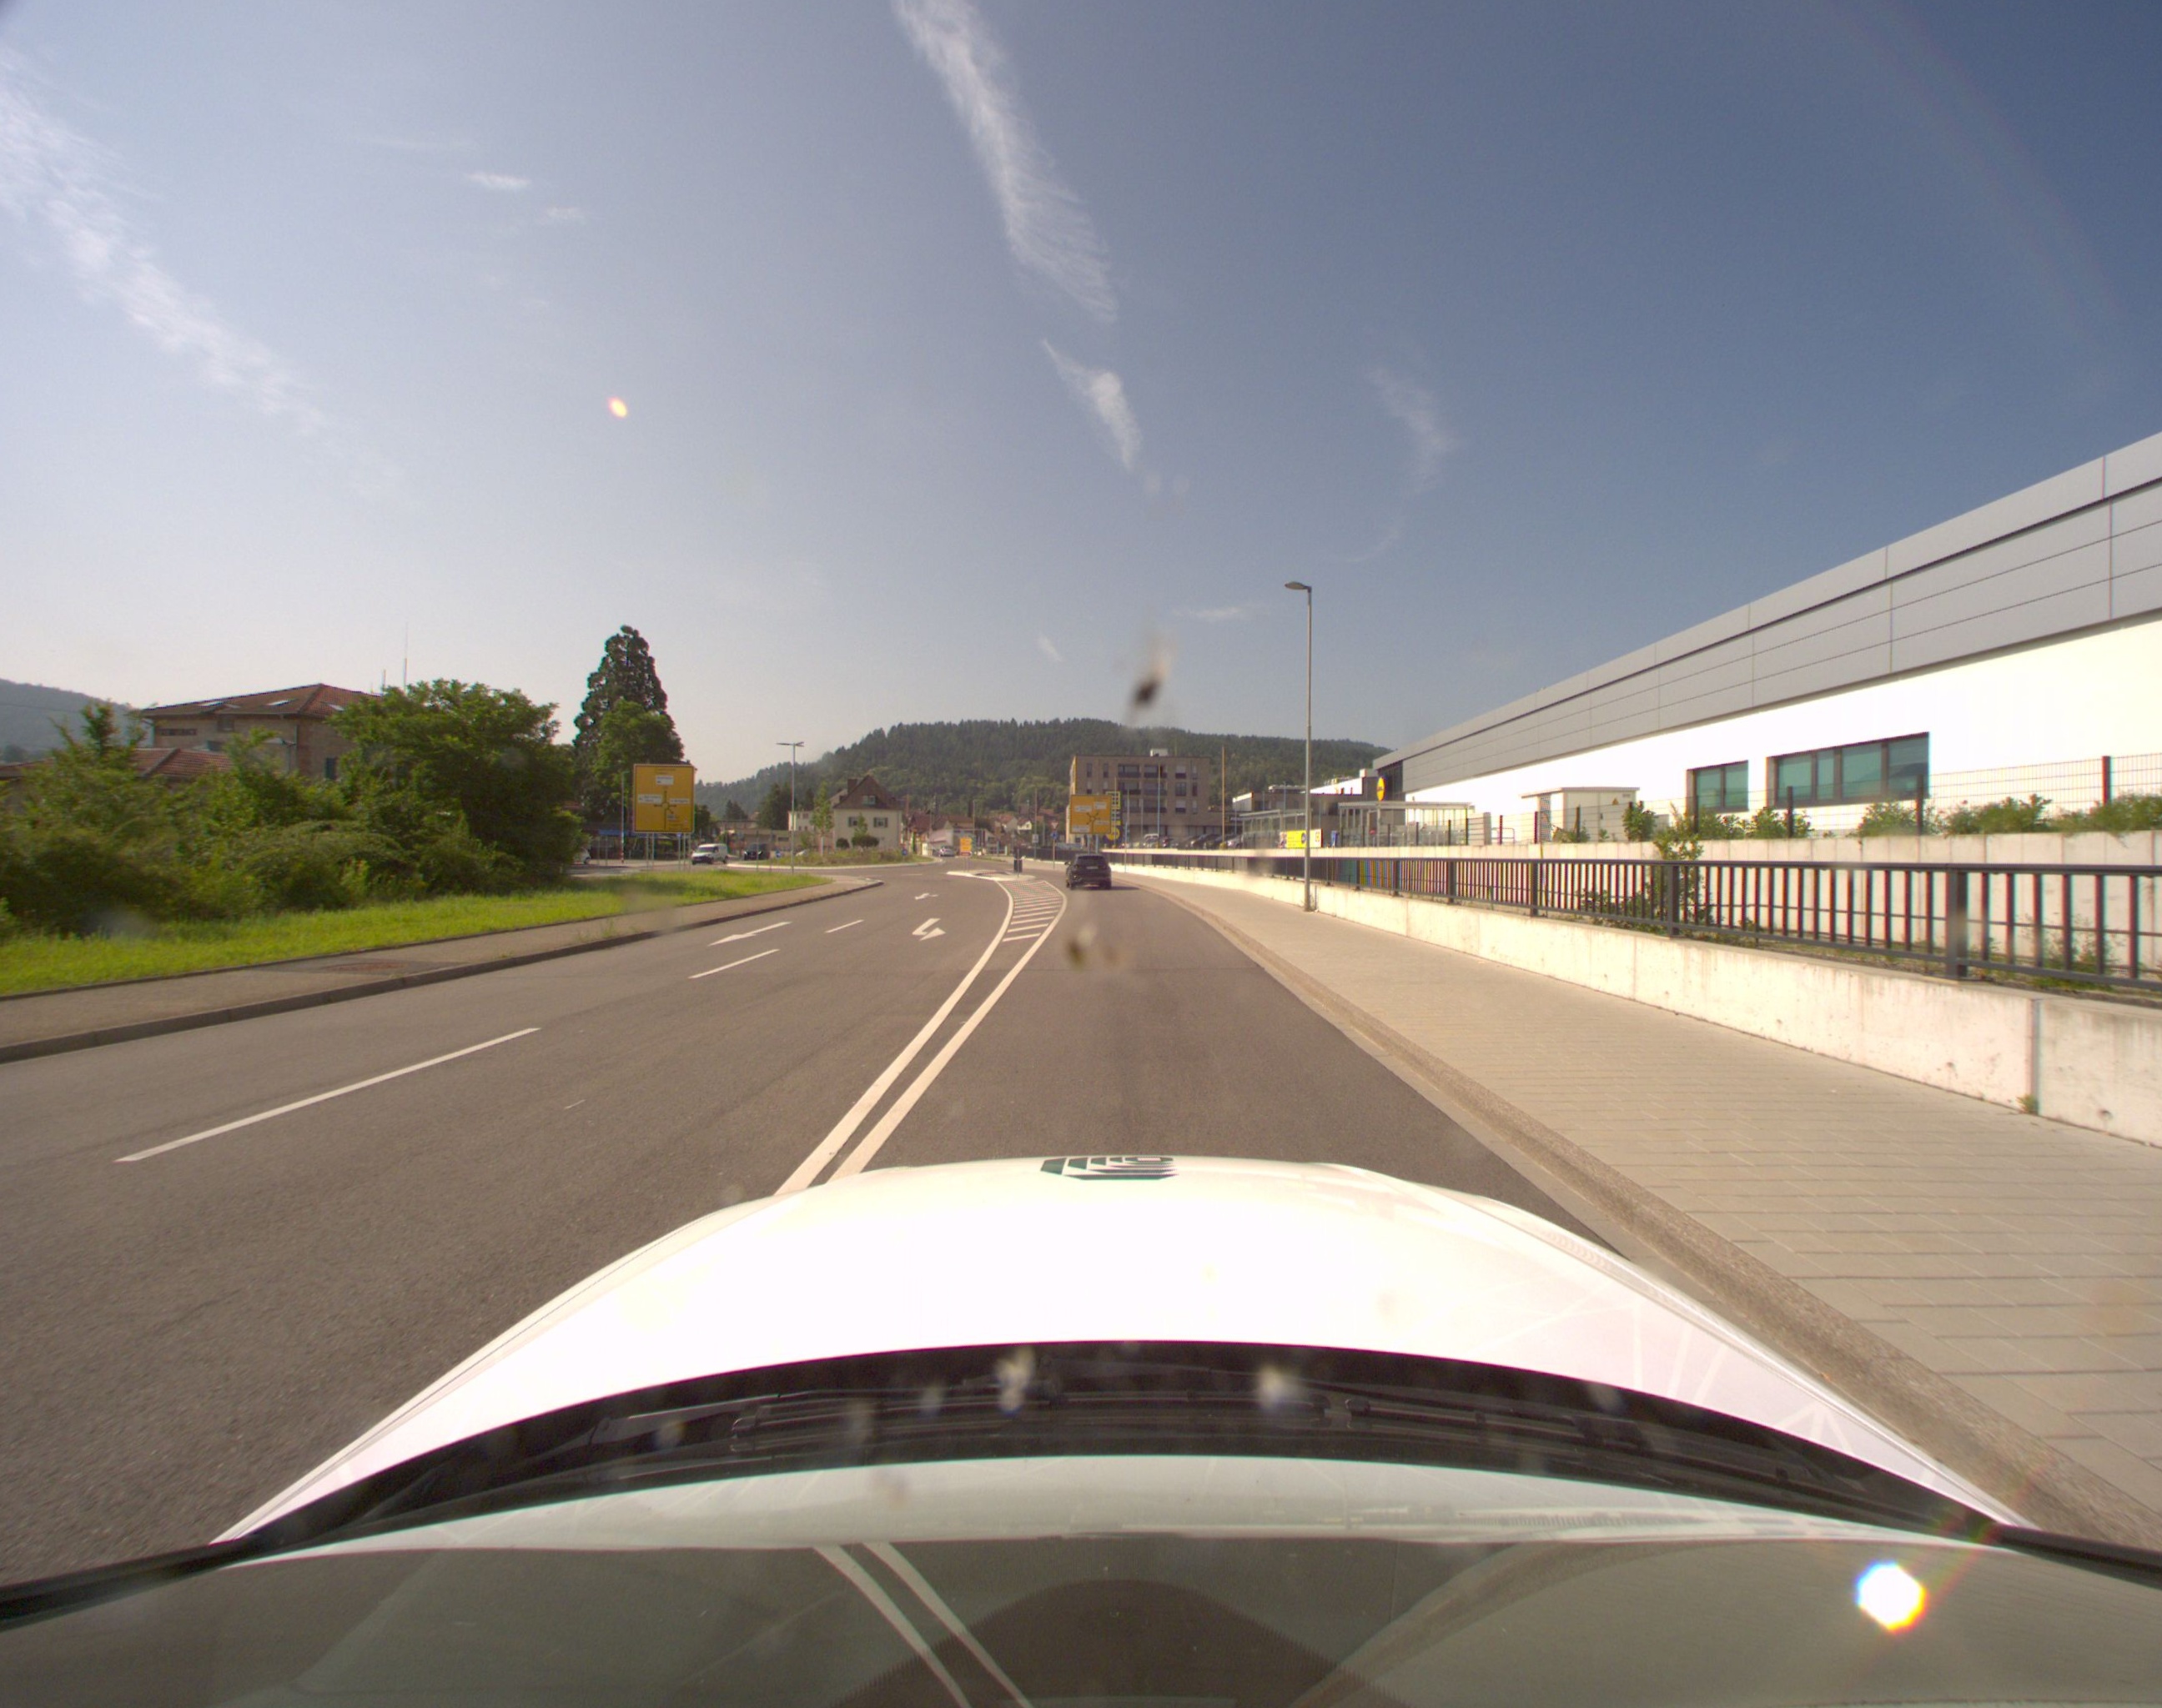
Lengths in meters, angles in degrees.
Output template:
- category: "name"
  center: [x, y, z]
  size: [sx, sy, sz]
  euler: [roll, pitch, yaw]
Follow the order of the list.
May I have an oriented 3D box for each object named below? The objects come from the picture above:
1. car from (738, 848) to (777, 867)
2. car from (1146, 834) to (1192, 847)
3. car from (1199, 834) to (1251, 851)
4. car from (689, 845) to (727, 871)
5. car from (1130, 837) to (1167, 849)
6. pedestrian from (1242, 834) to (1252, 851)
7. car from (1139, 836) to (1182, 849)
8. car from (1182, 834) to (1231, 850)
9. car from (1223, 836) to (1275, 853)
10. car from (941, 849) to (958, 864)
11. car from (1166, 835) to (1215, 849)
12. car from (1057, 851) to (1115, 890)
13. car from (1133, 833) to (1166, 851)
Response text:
- category: "car"
  center: [-35.257, 0.368, 88.781]
  size: [1.830, 1.946, 4.890]
  euler: [-1, 0, 6]
- category: "car"
  center: [8.742, -1.288, 80.859]
  size: [4.289, 1.245, 1.655]
  euler: [0, 0, -17]
- category: "car"
  center: [12.131, -0.978, 68.483]
  size: [4.071, 1.404, 1.477]
  euler: [0, 0, -17]
- category: "car"
  center: [-33.733, 0.318, 73.786]
  size: [1.805, 2.077, 4.593]
  euler: [1, 3, -8]
- category: "car"
  center: [7.114, -1.136, 86.489]
  size: [3.563, 1.199, 1.705]
  euler: [0, 0, -17]
- category: "pedestrian"
  center: [13.056, -0.878, 63.981]
  size: [0.548, 1.312, 0.653]
  euler: [0, -1, -15]
- category: "car"
  center: [8.124, -1.154, 82.908]
  size: [4.046, 1.342, 1.651]
  euler: [0, 0, -17]
- category: "car"
  center: [11.123, -1.063, 72.239]
  size: [4.015, 1.404, 1.715]
  euler: [0, 0, -17]
- category: "car"
  center: [13.498, -0.751, 65.462]
  size: [3.815, 1.364, 1.671]
  euler: [0, 0, -17]
- category: "car"
  center: [-18.178, 0.330, 112.528]
  size: [1.990, 2.014, 3.994]
  euler: [0, 0, -4]
- category: "car"
  center: [10.128, -1.071, 75.416]
  size: [4.223, 1.245, 1.734]
  euler: [0, 0, -17]
- category: "car"
  center: [0.158, 0.746, 37.892]
  size: [1.882, 1.684, 3.983]
  euler: [0, 0, -12]
- category: "car"
  center: [8.591, -1.462, 102.256]
  size: [3.968, 2.136, 2.002]
  euler: [0, 0, 4]
